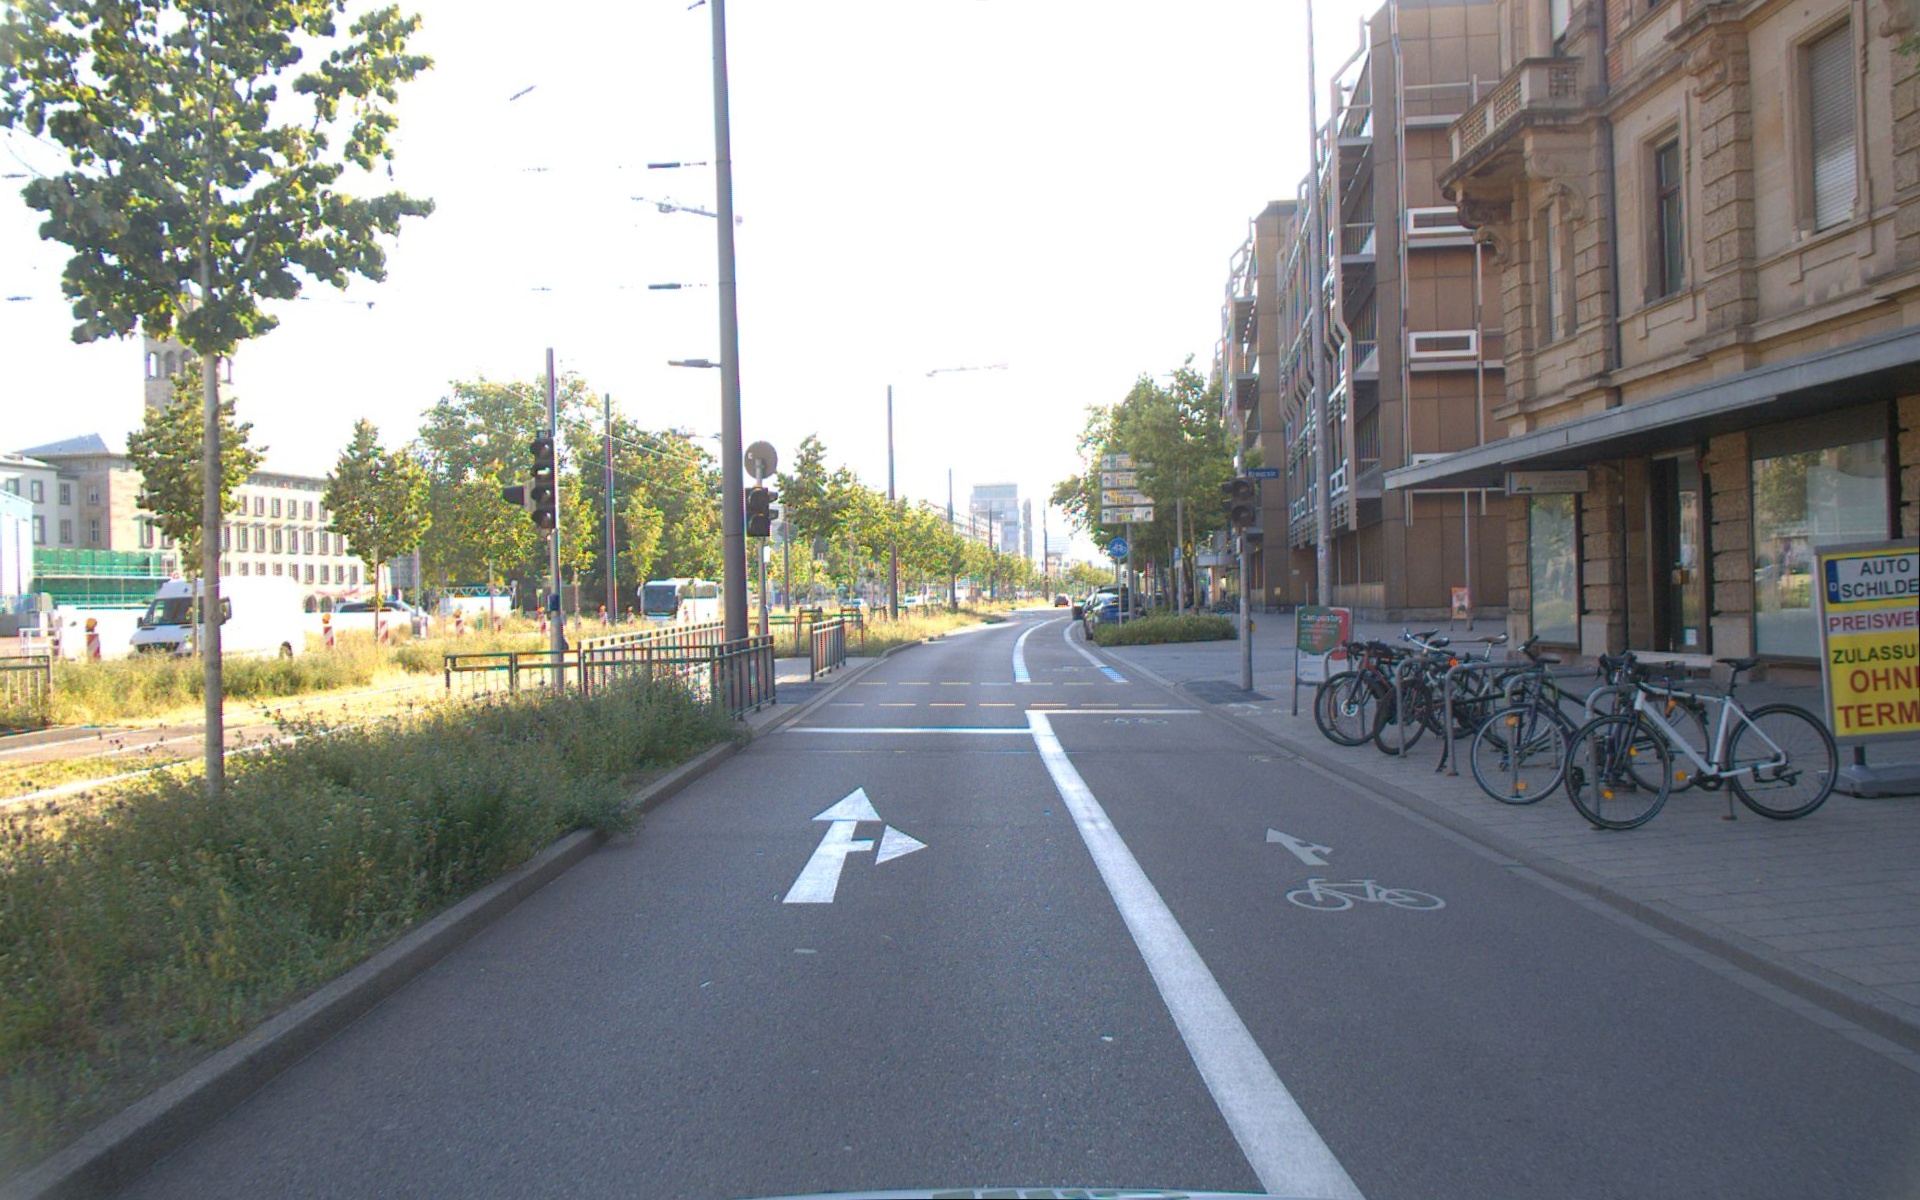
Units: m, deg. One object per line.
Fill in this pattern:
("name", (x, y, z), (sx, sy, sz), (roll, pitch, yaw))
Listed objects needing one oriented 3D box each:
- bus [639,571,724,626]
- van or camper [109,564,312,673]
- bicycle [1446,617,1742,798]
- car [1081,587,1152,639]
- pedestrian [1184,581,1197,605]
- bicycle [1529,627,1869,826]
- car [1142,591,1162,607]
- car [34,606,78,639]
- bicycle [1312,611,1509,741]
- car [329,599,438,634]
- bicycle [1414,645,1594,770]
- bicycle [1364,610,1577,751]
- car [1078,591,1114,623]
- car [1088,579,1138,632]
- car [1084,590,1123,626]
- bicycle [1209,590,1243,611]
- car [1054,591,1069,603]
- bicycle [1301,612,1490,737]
("bus", (-19.675, -0.104, 117.864), (2.740, 3.657, 12.706), (-1, 0, 6))
("van or camper", (-19.803, 0.414, 44.196), (2.177, 2.553, 7.198), (-3, 1, -2))
("bicycle", (4.444, 0.744, 11.681), (1.806, 1.123, 0.566), (-4, 0, 4))
("car", (5.414, 0.420, 57.795), (1.892, 1.626, 4.698), (-3, 0, -1))
("pedestrian", (16.408, -0.472, 117.824), (0.772, 1.677, 1.137), (-2, 0, 6))
("bicycle", (4.511, 0.763, 10.171), (1.767, 1.065, 0.566), (-4, 0, 4))
("car", (18.433, -0.101, 158.710), (1.670, 1.443, 4.280), (-4, 0, 8))
("car", (-48.881, 1.199, 89.474), (1.386, 1.664, 4.201), (-1, 0, -19))
("bicycle", (4.356, 0.733, 16.057), (1.717, 1.123, 0.507), (-4, 0, 4))
("car", (-31.115, 0.861, 89.358), (5.116, 1.747, 2.126), (-1, 0, 4))
("bicycle", (4.368, 0.856, 13.331), (1.248, 0.892, 0.507), (-4, 0, 4))
("bicycle", (4.544, 0.712, 14.779), (1.685, 1.123, 0.507), (-4, 0, 4))
("car", (7.139, 0.348, 86.381), (1.757, 1.474, 4.379), (-3, 0, 5))
("car", (6.010, 0.193, 65.420), (1.698, 1.952, 4.395), (-3, 0, 3))
("car", (6.548, 0.338, 75.281), (1.628, 1.516, 4.206), (-3, 0, 6))
("bicycle", (15.393, 0.029, 95.676), (1.861, 1.112, 0.392), (-3, 0, 0))
("car", (12.261, -0.343, 199.810), (1.739, 1.453, 4.003), (0, 0, 6))
("bicycle", (4.368, 0.741, 16.649), (1.717, 1.123, 0.507), (-4, 0, 4))
